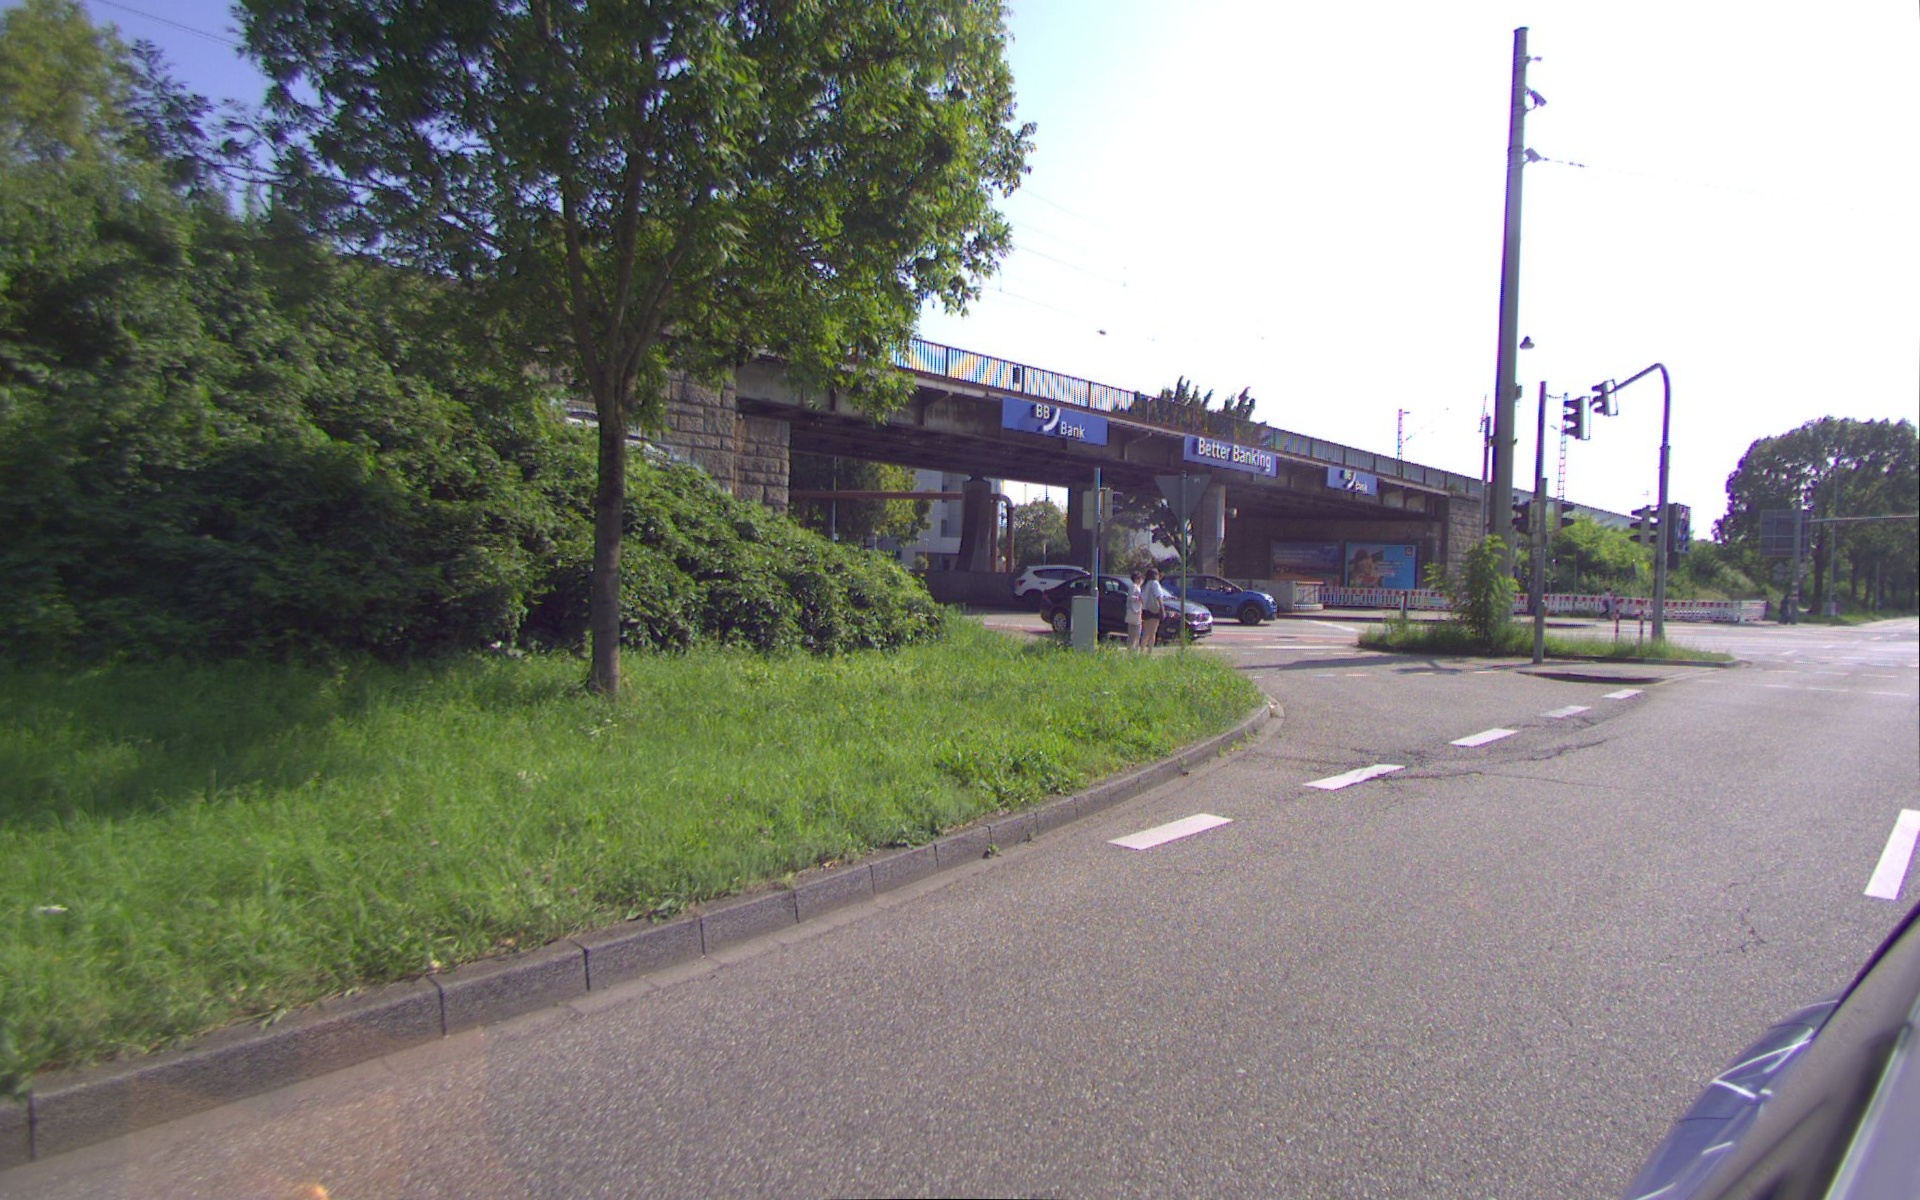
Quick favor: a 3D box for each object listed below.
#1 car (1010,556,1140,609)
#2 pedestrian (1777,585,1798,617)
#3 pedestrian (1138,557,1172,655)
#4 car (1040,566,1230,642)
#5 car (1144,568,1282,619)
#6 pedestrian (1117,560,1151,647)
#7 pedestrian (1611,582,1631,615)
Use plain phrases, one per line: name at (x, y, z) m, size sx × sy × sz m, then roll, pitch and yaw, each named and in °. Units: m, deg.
car at (3.956, -0.624, 34.503) m, size 4.155 × 1.638 × 2.003 m, roll 2°, pitch 2°, yaw 14°
pedestrian at (42.461, 0.066, 51.917) m, size 0.747 × 1.593 × 0.649 m, roll 0°, pitch 3°, yaw -43°
pedestrian at (3.452, 0.098, 17.930) m, size 0.484 × 1.702 × 0.571 m, roll 1°, pitch 1°, yaw 5°
car at (3.957, 0.018, 23.470) m, size 1.836 × 1.552 × 4.192 m, roll 0°, pitch 2°, yaw -38°
car at (7.627, -0.221, 30.786) m, size 3.938 × 1.470 × 1.612 m, roll 1°, pitch 1°, yaw 12°
pedestrian at (3.228, 0.049, 18.775) m, size 0.562 × 1.586 × 0.535 m, roll 0°, pitch 1°, yaw 6°
pedestrian at (32.040, -0.092, 49.074) m, size 0.625 × 1.594 × 0.489 m, roll 1°, pitch 1°, yaw 10°
